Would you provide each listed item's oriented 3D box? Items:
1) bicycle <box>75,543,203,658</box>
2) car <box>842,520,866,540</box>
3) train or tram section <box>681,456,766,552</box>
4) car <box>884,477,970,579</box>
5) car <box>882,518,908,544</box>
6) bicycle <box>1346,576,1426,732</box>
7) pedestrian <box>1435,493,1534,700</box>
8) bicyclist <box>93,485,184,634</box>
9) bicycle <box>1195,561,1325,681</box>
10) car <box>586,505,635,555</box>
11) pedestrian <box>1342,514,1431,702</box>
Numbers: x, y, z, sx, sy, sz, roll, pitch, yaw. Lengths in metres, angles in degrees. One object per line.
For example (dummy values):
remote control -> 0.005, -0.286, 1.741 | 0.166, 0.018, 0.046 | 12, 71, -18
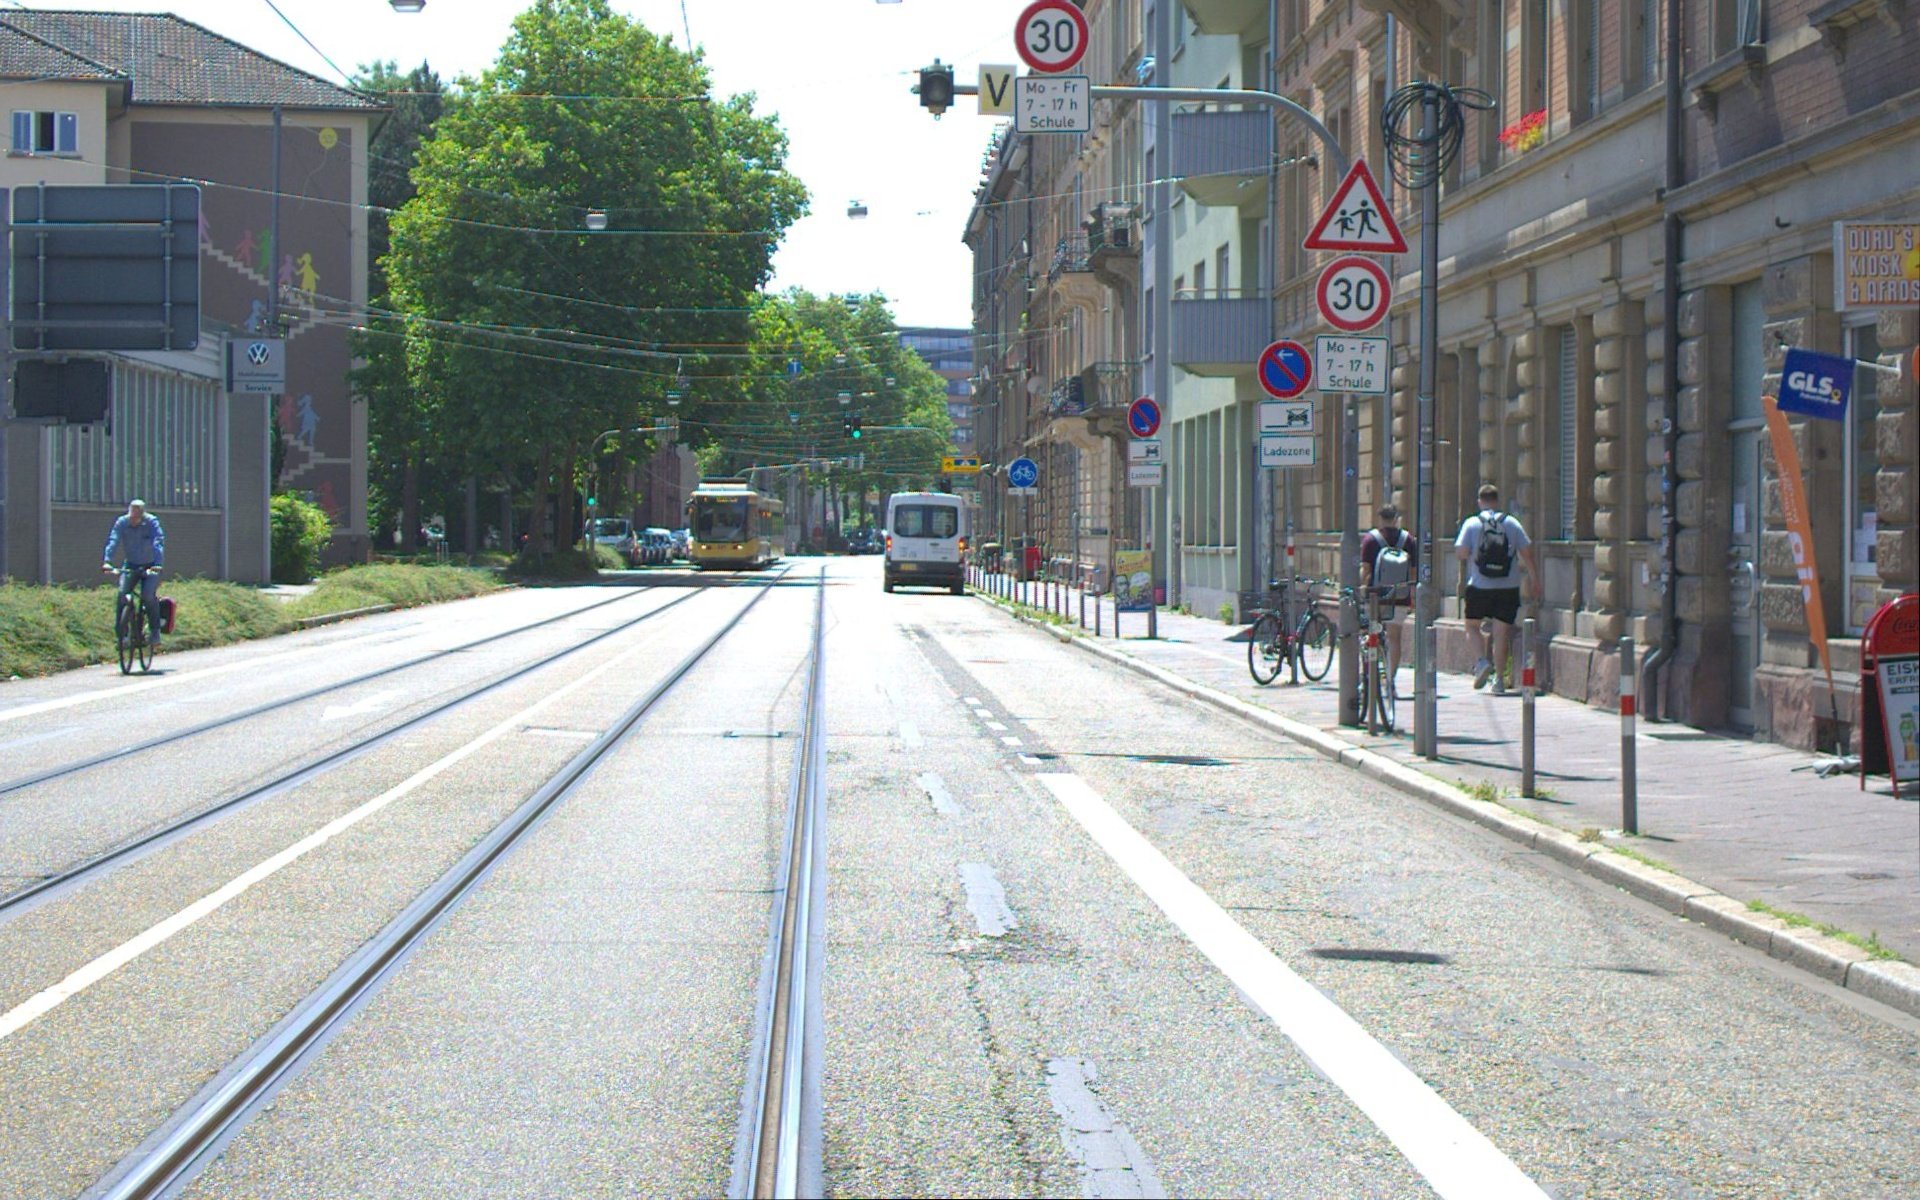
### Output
bicycle -> -8.588, -0.016, 36.042 | 0.698, 1.140, 2.496 | 0, 1, 1
car -> -7.485, -4.939, 242.640 | 1.528, 1.404, 3.490 | 1, 1, -4
train or tram section -> -9.225, -3.745, 135.233 | 2.960, 3.568, 13.425 | 0, 1, -3
car -> -0.869, -1.847, 88.167 | 2.067, 2.492, 5.455 | 1, 1, -1
car -> -4.750, -5.028, 250.833 | 1.673, 1.853, 4.001 | 1, 1, -5
bicycle -> 3.232, 0.384, 26.213 | 0.447, 1.093, 2.422 | 0, 1, 3
pedestrian -> 4.790, -0.040, 31.442 | 0.702, 1.842, 0.644 | -3, 1, -1
bicyclist -> -8.595, -0.427, 36.001 | 0.698, 1.543, 0.980 | 0, 1, 1
bicycle -> 3.002, 0.190, 34.201 | 0.499, 1.127, 2.240 | 0, 1, 27
car -> -13.997, -2.809, 137.829 | 1.800, 1.916, 4.001 | 1, 1, -4
pedestrian -> 3.917, 0.067, 31.594 | 0.720, 1.714, 0.644 | 0, 1, -1
